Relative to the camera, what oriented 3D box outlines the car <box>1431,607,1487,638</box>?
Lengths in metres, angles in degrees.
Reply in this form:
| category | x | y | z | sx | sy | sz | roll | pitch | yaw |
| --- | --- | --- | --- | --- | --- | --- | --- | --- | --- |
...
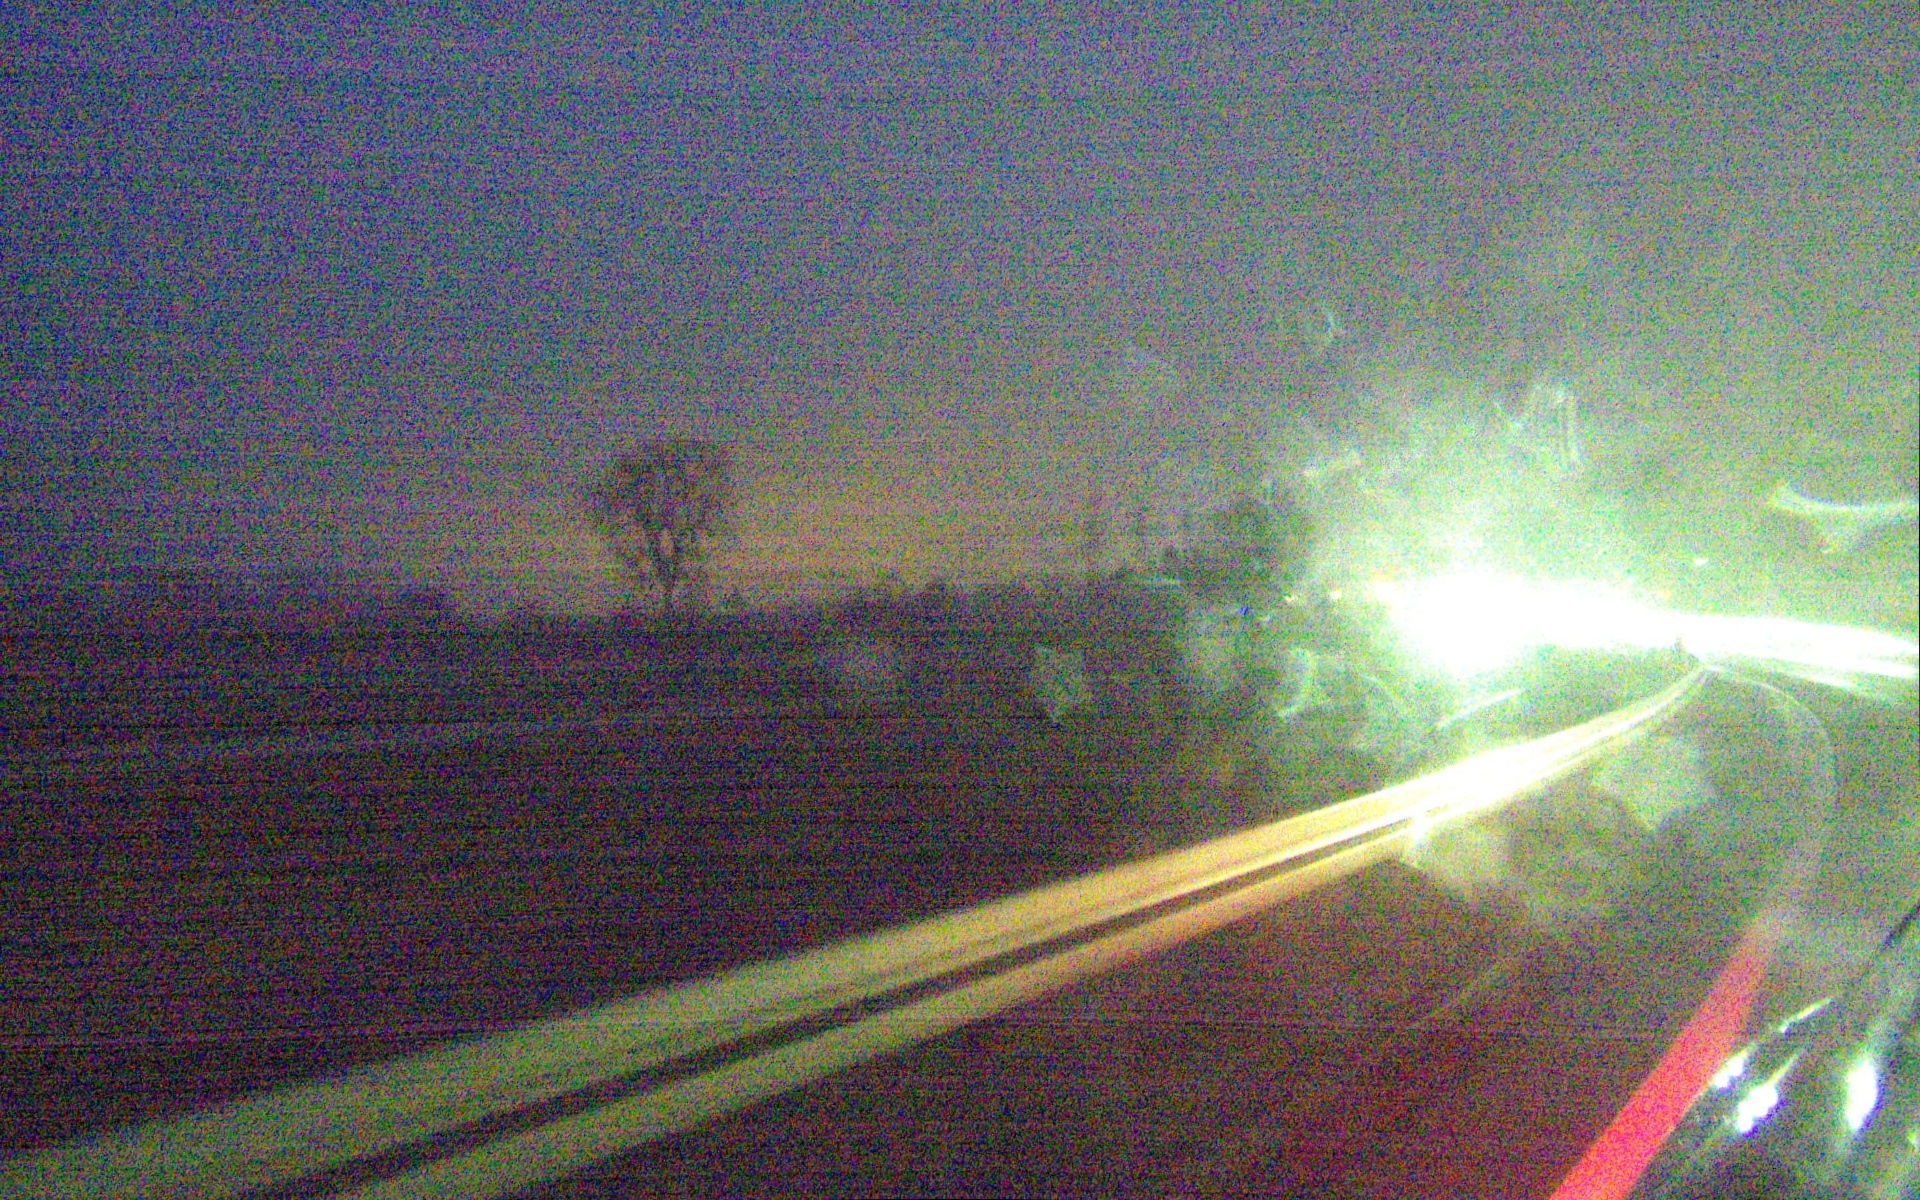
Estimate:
| category | x | y | z | sx | sy | sz | roll | pitch | yaw |
| --- | --- | --- | --- | --- | --- | --- | --- | --- | --- |
| car | 31.113 | 1.411 | 63.186 | 1.968 | 1.770 | 4.086 | -3 | -2 | 10 |
